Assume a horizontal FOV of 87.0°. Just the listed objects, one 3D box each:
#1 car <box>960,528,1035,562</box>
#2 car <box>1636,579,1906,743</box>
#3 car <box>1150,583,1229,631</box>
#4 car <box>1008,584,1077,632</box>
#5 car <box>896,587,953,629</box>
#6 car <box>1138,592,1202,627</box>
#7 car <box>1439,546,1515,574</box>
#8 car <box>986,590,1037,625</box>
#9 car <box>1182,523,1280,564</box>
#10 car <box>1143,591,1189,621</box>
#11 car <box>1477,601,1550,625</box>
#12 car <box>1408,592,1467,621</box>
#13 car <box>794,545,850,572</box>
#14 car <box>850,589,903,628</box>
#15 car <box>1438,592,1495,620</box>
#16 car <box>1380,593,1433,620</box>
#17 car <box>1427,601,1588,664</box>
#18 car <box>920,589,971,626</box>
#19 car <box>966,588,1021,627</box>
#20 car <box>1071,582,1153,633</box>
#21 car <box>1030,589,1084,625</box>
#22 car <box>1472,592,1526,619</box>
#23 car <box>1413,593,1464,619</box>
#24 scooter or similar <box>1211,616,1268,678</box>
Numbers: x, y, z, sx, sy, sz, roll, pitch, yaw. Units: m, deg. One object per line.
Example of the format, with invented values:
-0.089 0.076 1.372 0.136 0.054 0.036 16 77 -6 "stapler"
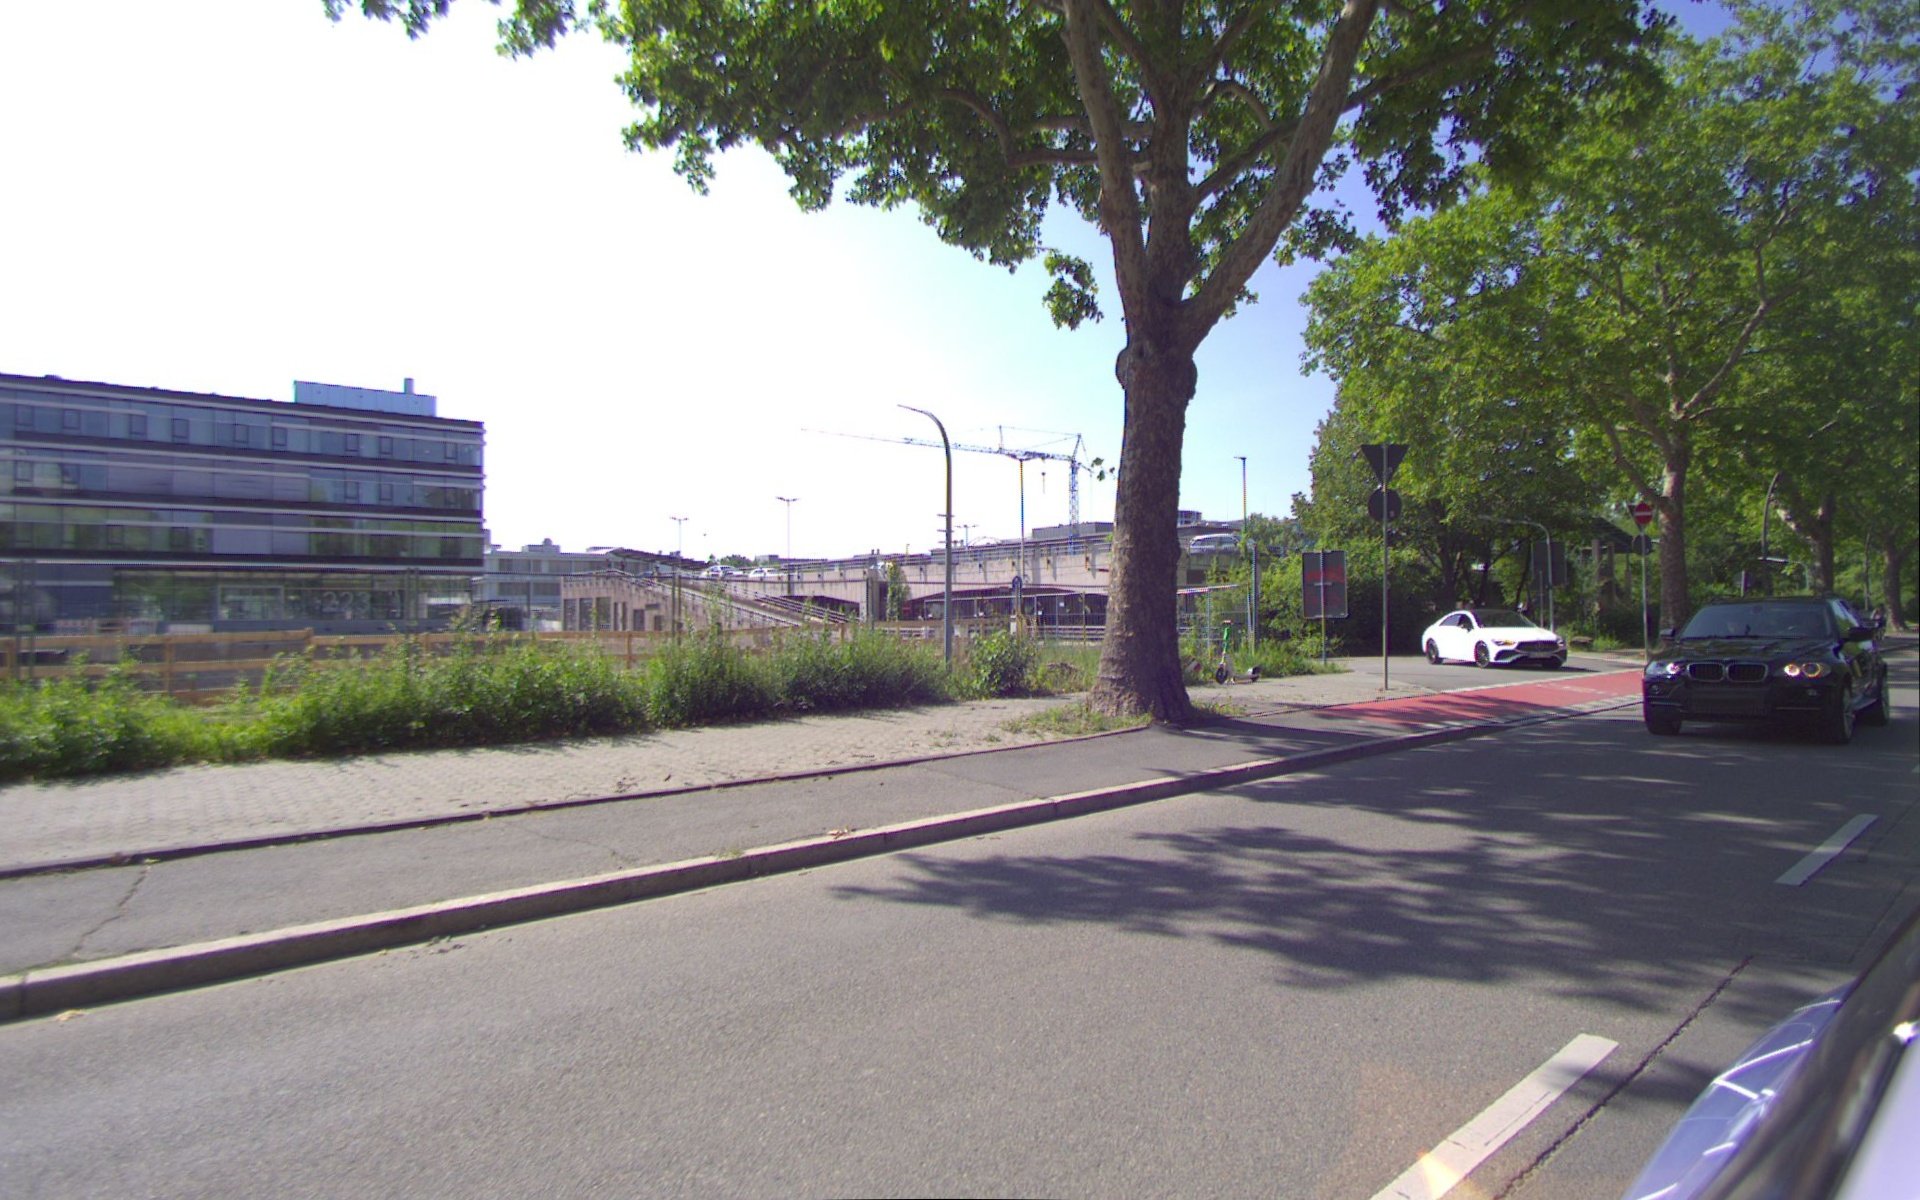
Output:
1.986 -2.929 54.269 1.778 1.529 3.992 0 -1 -42 "car"
10.395 0.678 12.880 4.079 1.753 1.922 0 -2 -41 "car"
13.769 0.428 60.894 1.778 2.774 4.369 1 -2 -42 "car"
4.945 0.481 60.803 1.778 2.774 3.992 1 -2 -42 "car"
-2.466 0.590 69.198 1.778 2.774 3.992 1 -2 -42 "car"
14.257 0.664 68.804 1.778 2.352 3.992 1 -2 -42 "car"
33.358 -2.567 65.365 1.778 1.529 3.992 0 -1 -42 "car"
4.171 0.616 82.401 1.778 2.774 3.992 1 -2 -42 "car"
12.238 -2.512 45.879 1.778 1.529 3.992 0 -1 -42 "car"
19.532 0.573 96.070 1.778 2.774 3.992 1 -2 -42 "car"
37.454 0.884 68.539 1.778 1.529 3.992 0 -1 -42 "car"
39.232 0.547 83.152 1.778 2.352 3.992 1 -2 -42 "car"
-9.261 -2.756 67.626 1.778 1.529 3.992 0 -1 -42 "car"
-6.116 0.647 73.671 1.778 2.774 3.992 1 -2 -42 "car"
44.012 0.537 87.971 1.778 2.352 3.992 1 -2 -42 "car"
40.511 0.589 91.839 1.778 2.352 3.992 1 -2 -42 "car"
13.514 0.771 25.263 1.861 1.427 3.998 -1 -1 1 "car"
-1.145 0.633 78.050 1.778 2.774 3.992 1 -2 -42 "car"
2.426 0.580 74.115 1.778 2.774 3.992 1 -2 -42 "car"
8.448 0.445 56.488 1.778 2.774 4.369 1 -2 -42 "car"
7.505 0.565 78.588 1.778 2.774 3.992 1 -2 -42 "car"
49.159 0.521 92.328 1.778 2.352 3.992 1 -2 -42 "car"
45.558 0.575 96.372 1.778 2.352 3.992 1 -2 -42 "car"
5.289 0.868 19.147 1.107 1.136 0.483 0 -2 -39 "scooter or similar"
